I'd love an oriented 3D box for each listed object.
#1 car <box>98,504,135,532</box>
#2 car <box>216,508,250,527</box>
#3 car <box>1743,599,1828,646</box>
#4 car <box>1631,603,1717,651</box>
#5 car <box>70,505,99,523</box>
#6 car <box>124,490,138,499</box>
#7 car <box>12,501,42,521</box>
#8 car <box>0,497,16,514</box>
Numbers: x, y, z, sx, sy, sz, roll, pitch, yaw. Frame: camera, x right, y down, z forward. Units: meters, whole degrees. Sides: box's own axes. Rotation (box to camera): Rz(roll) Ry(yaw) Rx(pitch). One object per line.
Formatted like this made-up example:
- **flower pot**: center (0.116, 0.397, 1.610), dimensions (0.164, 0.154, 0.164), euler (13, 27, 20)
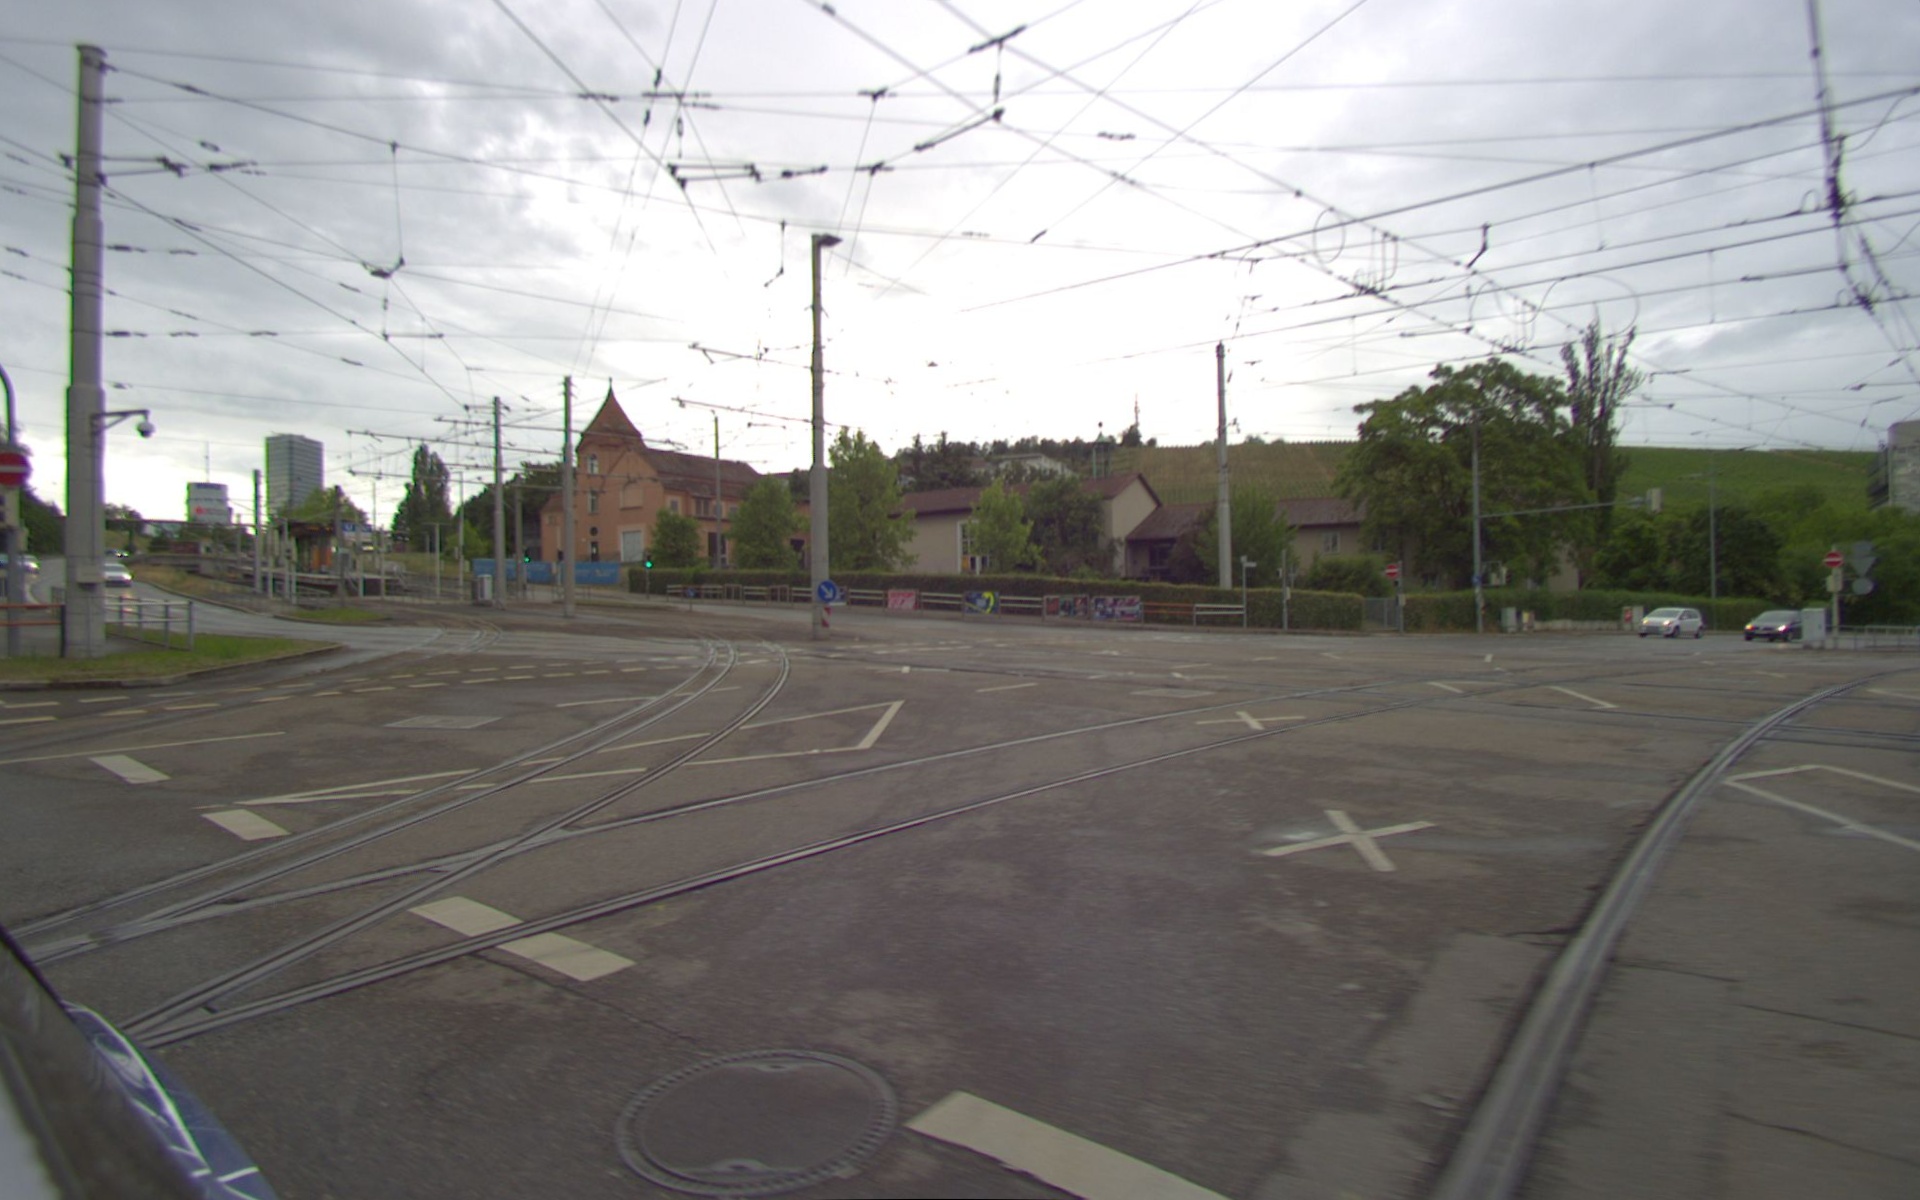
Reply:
- **car**: center (-55.935, -5.464, 67.161), dimensions (1.712, 1.599, 4.009), euler (3, 4, -39)
- **car**: center (-68.874, -7.799, 95.878), dimensions (4.000, 1.523, 1.778), euler (3, 1, 42)
- **car**: center (39.027, 1.067, 47.840), dimensions (3.933, 2.029, 2.005), euler (3, 0, -34)
- **car**: center (35.257, 1.339, 49.958), dimensions (3.933, 2.028, 2.006), euler (3, 4, -34)
- **car**: center (-82.495, -8.084, 95.366), dimensions (1.776, 1.482, 4.004), euler (2, 3, -45)
- **car**: center (-156.937, -19.898, 191.645), dimensions (1.773, 1.482, 4.010), euler (3, 3, -37)
- **car**: center (-79.189, -7.588, 85.921), dimensions (1.775, 1.482, 4.006), euler (2, 3, -42)
- **car**: center (-94.092, -9.320, 99.491), dimensions (1.775, 1.482, 4.006), euler (2, 3, -42)
